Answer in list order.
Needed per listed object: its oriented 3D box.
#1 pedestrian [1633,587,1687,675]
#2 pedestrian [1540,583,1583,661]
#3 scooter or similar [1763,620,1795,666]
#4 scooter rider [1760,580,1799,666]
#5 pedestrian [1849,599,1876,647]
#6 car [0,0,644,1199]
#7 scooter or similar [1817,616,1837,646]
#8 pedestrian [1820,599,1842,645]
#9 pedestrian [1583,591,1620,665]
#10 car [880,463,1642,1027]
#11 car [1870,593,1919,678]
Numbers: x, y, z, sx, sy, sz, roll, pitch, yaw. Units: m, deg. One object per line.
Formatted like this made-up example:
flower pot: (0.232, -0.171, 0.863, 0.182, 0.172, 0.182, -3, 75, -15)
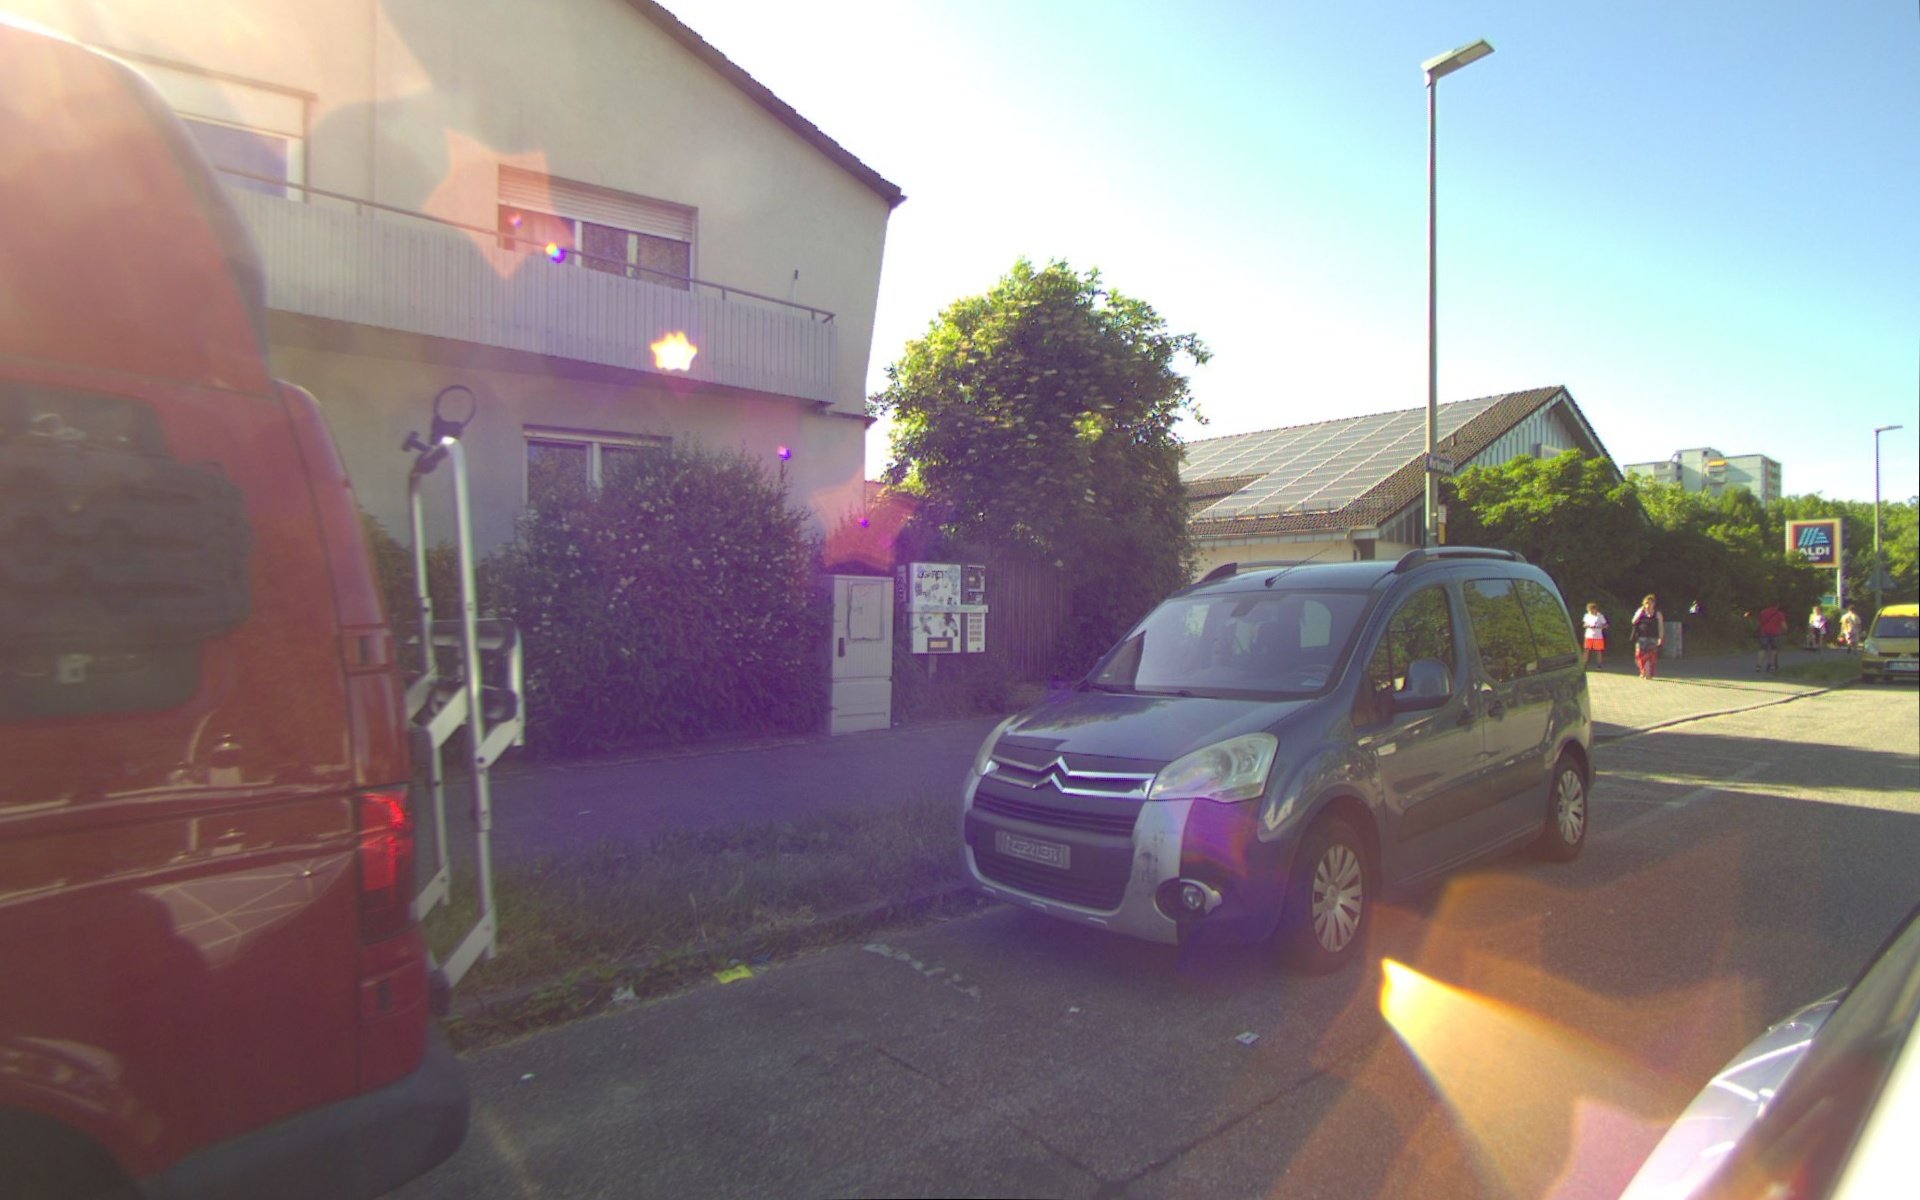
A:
pedestrian: (14.186, 0.613, 20.504, 0.881, 1.709, 0.634, 1, 3, -43)
pedestrian: (13.487, 0.482, 22.699, 0.632, 1.684, 0.583, 1, 3, -43)
scooter or similar: (19.976, 1.035, 24.687, 0.456, 1.043, 1.033, 5, 3, 44)
scooter rider: (19.944, 0.542, 24.629, 0.598, 2.038, 0.479, 4, 2, 44)
pedestrian: (33.958, 0.871, 38.066, 0.579, 1.791, 0.672, 1, -1, -41)
car: (-3.201, 0.176, 1.115, 5.135, 2.678, 1.959, 0, -1, -43)
scooter or similar: (33.160, 1.180, 38.707, 0.826, 1.092, 0.478, 1, -1, -41)
pedestrian: (33.745, 0.841, 39.205, 0.579, 1.791, 0.541, 1, -1, -41)
pedestrian: (13.887, 0.601, 21.917, 0.655, 1.551, 0.447, 1, 3, -43)
car: (1.925, 0.516, 5.556, 4.480, 1.872, 1.859, 0, -3, -41)
car: (21.860, 0.767, 22.720, 3.911, 1.799, 1.620, 0, -1, -41)
